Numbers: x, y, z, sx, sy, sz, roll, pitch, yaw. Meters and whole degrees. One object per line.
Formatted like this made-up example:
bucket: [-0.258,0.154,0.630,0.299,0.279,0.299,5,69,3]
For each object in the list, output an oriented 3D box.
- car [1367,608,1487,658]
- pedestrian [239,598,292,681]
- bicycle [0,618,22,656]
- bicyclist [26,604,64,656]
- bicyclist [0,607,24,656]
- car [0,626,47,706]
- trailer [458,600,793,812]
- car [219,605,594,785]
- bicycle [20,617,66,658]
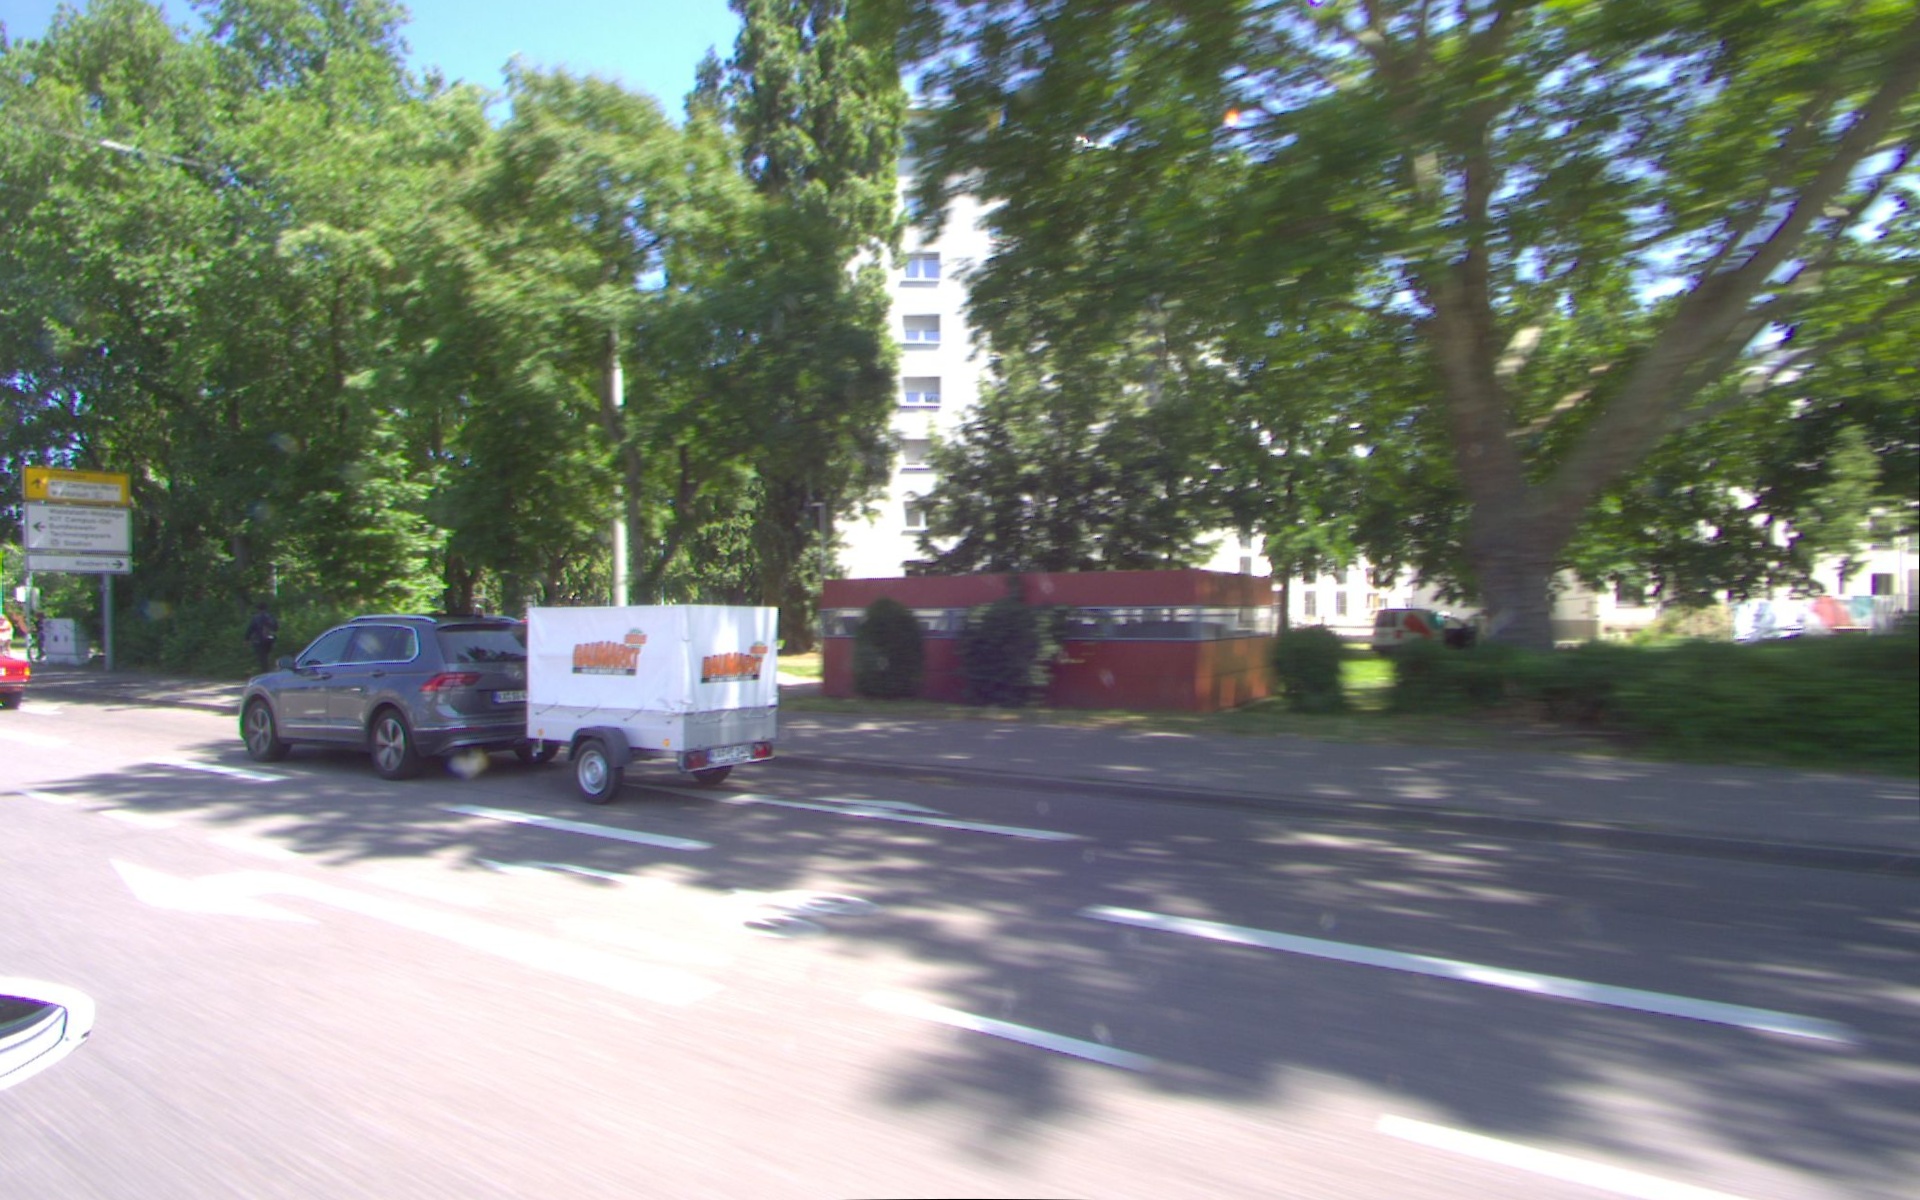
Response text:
car: [16.837,1.192,36.162,3.681,1.723,1.739,1,-2,-14]
pedestrian: [-15.773,0.879,22.757,0.683,1.840,0.751,0,1,31]
bicycle: [-34.961,1.352,36.728,1.608,1.322,0.640,-1,2,43]
bicyclist: [-31.079,1.009,34.016,0.715,1.726,0.676,-3,2,-25]
bicyclist: [-34.996,1.164,36.776,0.671,1.750,0.797,0,2,43]
car: [-19.009,1.194,18.772,4.204,1.414,1.653,0,-2,31]
trailer: [-3.122,0.878,9.318,2.814,1.690,1.467,0,-2,31]
car: [-6.223,0.926,11.135,4.333,1.675,1.697,0,-2,31]
bicycle: [-31.022,1.249,33.885,0.715,1.313,1.299,-2,1,-25]
